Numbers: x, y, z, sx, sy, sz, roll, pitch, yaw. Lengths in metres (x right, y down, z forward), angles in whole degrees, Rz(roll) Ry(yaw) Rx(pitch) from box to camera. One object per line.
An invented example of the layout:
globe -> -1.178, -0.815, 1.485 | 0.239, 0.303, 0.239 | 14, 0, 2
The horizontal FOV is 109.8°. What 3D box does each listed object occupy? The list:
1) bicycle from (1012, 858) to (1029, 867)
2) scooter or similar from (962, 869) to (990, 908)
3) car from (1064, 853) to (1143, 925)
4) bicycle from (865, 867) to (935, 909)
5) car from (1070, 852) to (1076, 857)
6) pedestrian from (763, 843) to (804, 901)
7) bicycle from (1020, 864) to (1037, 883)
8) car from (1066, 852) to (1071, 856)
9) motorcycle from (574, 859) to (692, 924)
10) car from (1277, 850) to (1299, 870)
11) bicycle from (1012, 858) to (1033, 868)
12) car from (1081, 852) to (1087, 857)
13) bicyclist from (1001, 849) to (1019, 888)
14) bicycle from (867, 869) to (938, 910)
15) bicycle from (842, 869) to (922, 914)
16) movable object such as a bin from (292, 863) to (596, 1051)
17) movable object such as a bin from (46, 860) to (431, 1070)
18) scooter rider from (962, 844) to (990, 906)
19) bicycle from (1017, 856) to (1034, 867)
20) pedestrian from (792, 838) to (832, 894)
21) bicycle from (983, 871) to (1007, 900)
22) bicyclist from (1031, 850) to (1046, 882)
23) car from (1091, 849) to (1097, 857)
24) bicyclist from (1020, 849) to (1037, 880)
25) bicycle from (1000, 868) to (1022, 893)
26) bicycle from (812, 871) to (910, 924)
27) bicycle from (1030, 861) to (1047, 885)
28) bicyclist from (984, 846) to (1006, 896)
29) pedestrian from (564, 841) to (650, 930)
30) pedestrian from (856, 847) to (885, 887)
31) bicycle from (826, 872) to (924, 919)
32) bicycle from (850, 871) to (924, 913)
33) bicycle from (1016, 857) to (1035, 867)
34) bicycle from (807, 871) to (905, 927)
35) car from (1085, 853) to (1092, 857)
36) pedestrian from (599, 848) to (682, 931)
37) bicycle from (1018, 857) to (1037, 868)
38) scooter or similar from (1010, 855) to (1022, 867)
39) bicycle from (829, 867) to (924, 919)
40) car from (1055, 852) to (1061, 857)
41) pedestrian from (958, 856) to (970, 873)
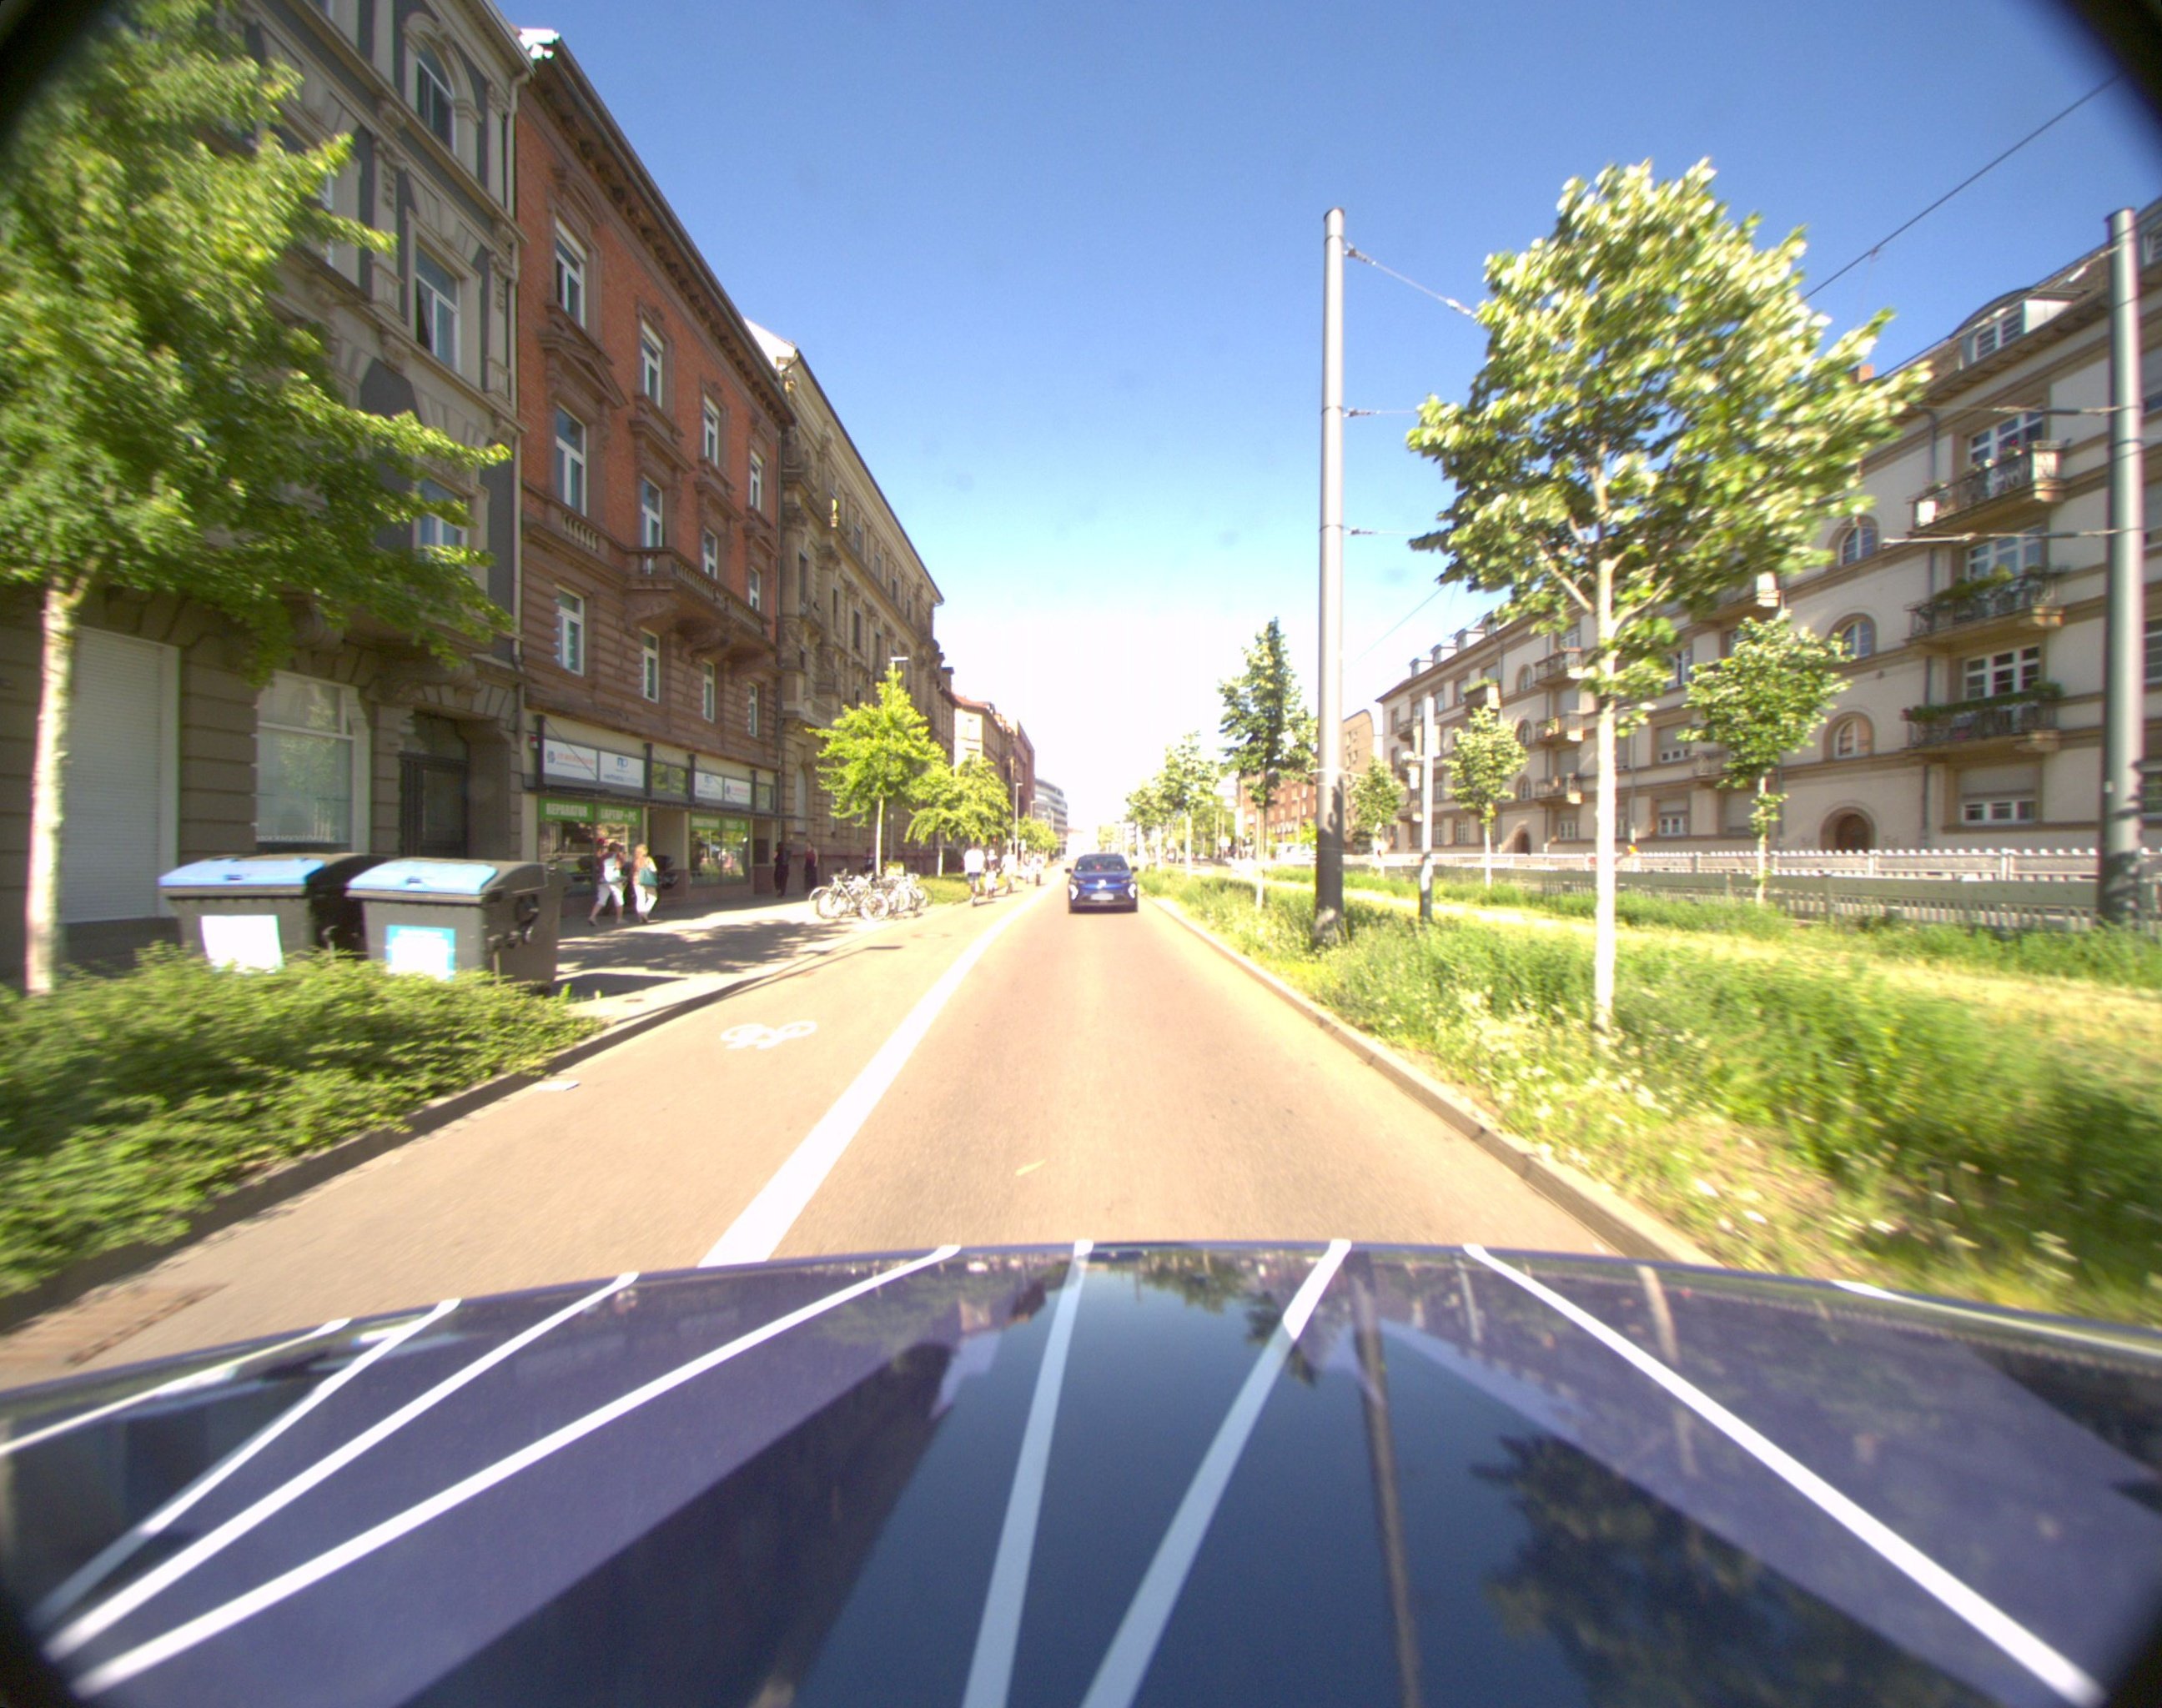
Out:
bicycle -> -6.098, 0.848, 76.419 | 1.717, 0.920, 0.497 | 0, 1, 0
scooter or similar -> -3.212, 1.045, 23.346 | 0.647, 1.151, 1.150 | -1, 1, 2
car -> 0.546, 0.809, 19.781 | 1.758, 1.576, 4.420 | -2, 0, 0
bicycle -> -5.104, 0.959, 21.480 | 1.871, 1.172, 0.373 | 1, 1, -2
car -> -2.498, 0.259, 236.996 | 1.745, 1.543, 4.000 | 0, 0, 0
pedestrian -> -9.245, 0.548, 23.611 | 0.849, 1.726, 0.902 | 4, 1, -2
bicycle -> -2.985, 1.083, 43.231 | 0.830, 1.000, 1.952 | -1, 0, 0
car -> -4.209, -0.008, 252.986 | 1.745, 1.543, 4.000 | 0, 0, 0
motorcycle -> -9.993, 0.787, 17.139 | 0.868, 1.259, 2.981 | 1, 1, 0
car -> 25.743, 0.682, 94.550 | 1.997, 2.283, 5.191 | -1, 1, 8
bicycle -> -5.847, 0.893, 75.787 | 1.905, 0.906, 0.592 | 2, 2, 9
car -> 0.945, 0.045, 234.986 | 1.745, 1.543, 4.000 | 0, 0, 0
bicyclist -> -3.026, 0.622, 32.475 | 0.700, 1.647, 0.977 | -1, 1, -2
bicycle -> -5.121, 1.013, 21.836 | 1.897, 1.102, 0.517 | 2, 1, -4
bicycle -> -5.229, 0.992, 20.020 | 1.982, 1.102, 0.435 | 2, 1, -2
movable object such as a bin -> -5.523, 0.837, 6.772 | 1.274, 1.454, 1.645 | -1, -2, 5
movable object such as a bin -> -7.126, 0.850, 6.618 | 1.376, 1.487, 1.749 | 3, 1, 2
scooter rider -> -3.215, 0.617, 23.310 | 0.662, 1.855, 0.898 | -1, 1, 2
bicycle -> -5.849, 0.807, 80.658 | 1.678, 1.055, 1.134 | 4, 1, -1
pedestrian -> -9.480, 0.406, 26.836 | 0.891, 1.909, 1.098 | 2, 1, 6
bicycle -> -3.219, 1.151, 28.598 | 0.725, 1.000, 1.952 | -1, 0, -1
bicyclist -> -2.224, 0.620, 39.710 | 0.725, 1.595, 0.895 | -1, 1, 0
car -> 3.867, -0.253, 221.567 | 1.758, 2.472, 4.610 | 0, 0, 1
bicyclist -> -2.992, 0.599, 43.232 | 0.854, 1.717, 0.989 | -1, 1, 0
bicycle -> -3.005, 1.134, 32.632 | 0.725, 1.000, 1.952 | -1, 0, 1
bicycle -> -5.020, 0.992, 17.423 | 2.049, 1.100, 0.610 | 3, 1, -5
bicycle -> -2.219, 0.995, 39.715 | 0.725, 1.187, 1.952 | -1, 0, 0
bicyclist -> -3.229, 0.623, 28.591 | 0.725, 1.807, 1.091 | -1, 1, -2
pedestrian -> -9.067, 0.582, 14.578 | 0.973, 1.629, 0.992 | 1, 0, 1
pedestrian -> -9.280, 0.560, 33.593 | 0.972, 1.682, 1.113 | 2, 1, -3
bicycle -> -5.093, 1.034, 18.853 | 2.293, 1.096, 0.485 | 2, 1, -14
bicycle -> -5.181, 1.020, 20.363 | 1.820, 1.050, 0.571 | 2, 1, -5
bicycle -> -5.804, 0.837, 79.513 | 1.903, 1.024, 1.030 | 2, 1, -3
bicycle -> -5.019, 1.001, 17.015 | 1.980, 1.117, 0.481 | 4, 0, -5
car -> 2.531, 0.296, 243.485 | 1.743, 1.263, 4.002 | 0, 0, 8
pedestrian -> -8.595, 0.676, 14.867 | 0.953, 1.557, 1.080 | 1, 0, 0
bicycle -> -5.462, 0.829, 78.000 | 1.876, 1.043, 0.608 | 3, 1, -4
scooter or similar -> -6.354, 0.706, 74.269 | 1.199, 1.191, 0.487 | 0, 1, -4
bicycle -> -4.956, 0.960, 18.506 | 2.154, 1.148, 0.429 | 3, 0, -13
car -> -7.326, 0.101, 237.720 | 1.745, 1.543, 4.000 | 0, 0, 0
pedestrian -> -8.348, 0.727, 54.449 | 0.719, 1.176, 0.881 | 0, 1, 0
